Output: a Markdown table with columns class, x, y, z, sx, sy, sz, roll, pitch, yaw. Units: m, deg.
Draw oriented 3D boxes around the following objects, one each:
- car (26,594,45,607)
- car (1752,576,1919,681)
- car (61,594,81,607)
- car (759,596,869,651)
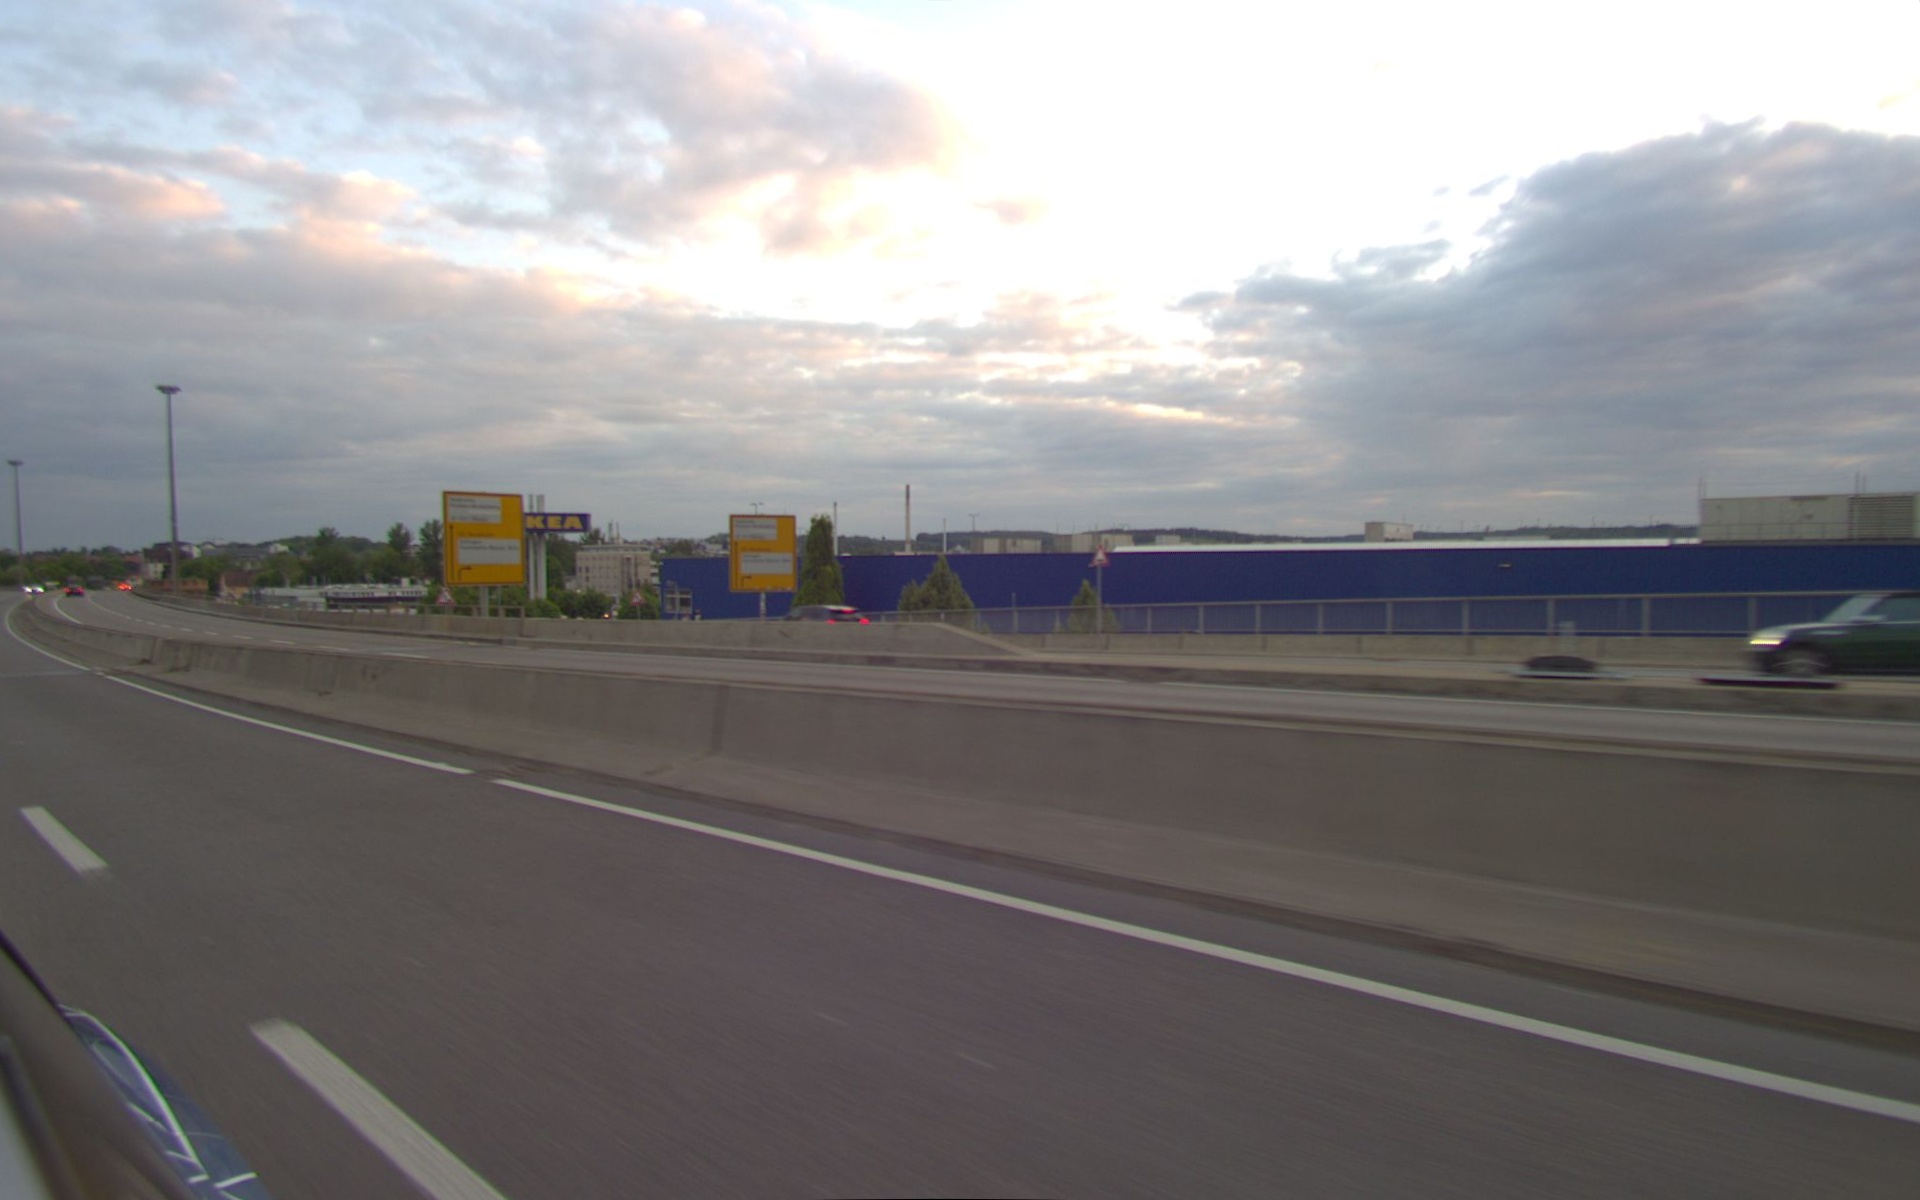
| class | x | y | z | sx | sy | sz | roll | pitch | yaw |
| --- | --- | --- | --- | --- | --- | --- | --- | --- | --- |
| car | -141.694 | 0.076 | 155.069 | 1.969 | 2.029 | 4.006 | -1 | 1 | -41 |
| car | 14.254 | 0.390 | 14.967 | 3.843 | 1.497 | 1.776 | -1 | 0 | 44 |
| car | -112.181 | 0.023 | 127.666 | 1.807 | 1.491 | 4.292 | -1 | 2 | -42 |
| car | -5.024 | 0.784 | 34.588 | 4.002 | 1.730 | 1.618 | -1 | 0 | 45 |
